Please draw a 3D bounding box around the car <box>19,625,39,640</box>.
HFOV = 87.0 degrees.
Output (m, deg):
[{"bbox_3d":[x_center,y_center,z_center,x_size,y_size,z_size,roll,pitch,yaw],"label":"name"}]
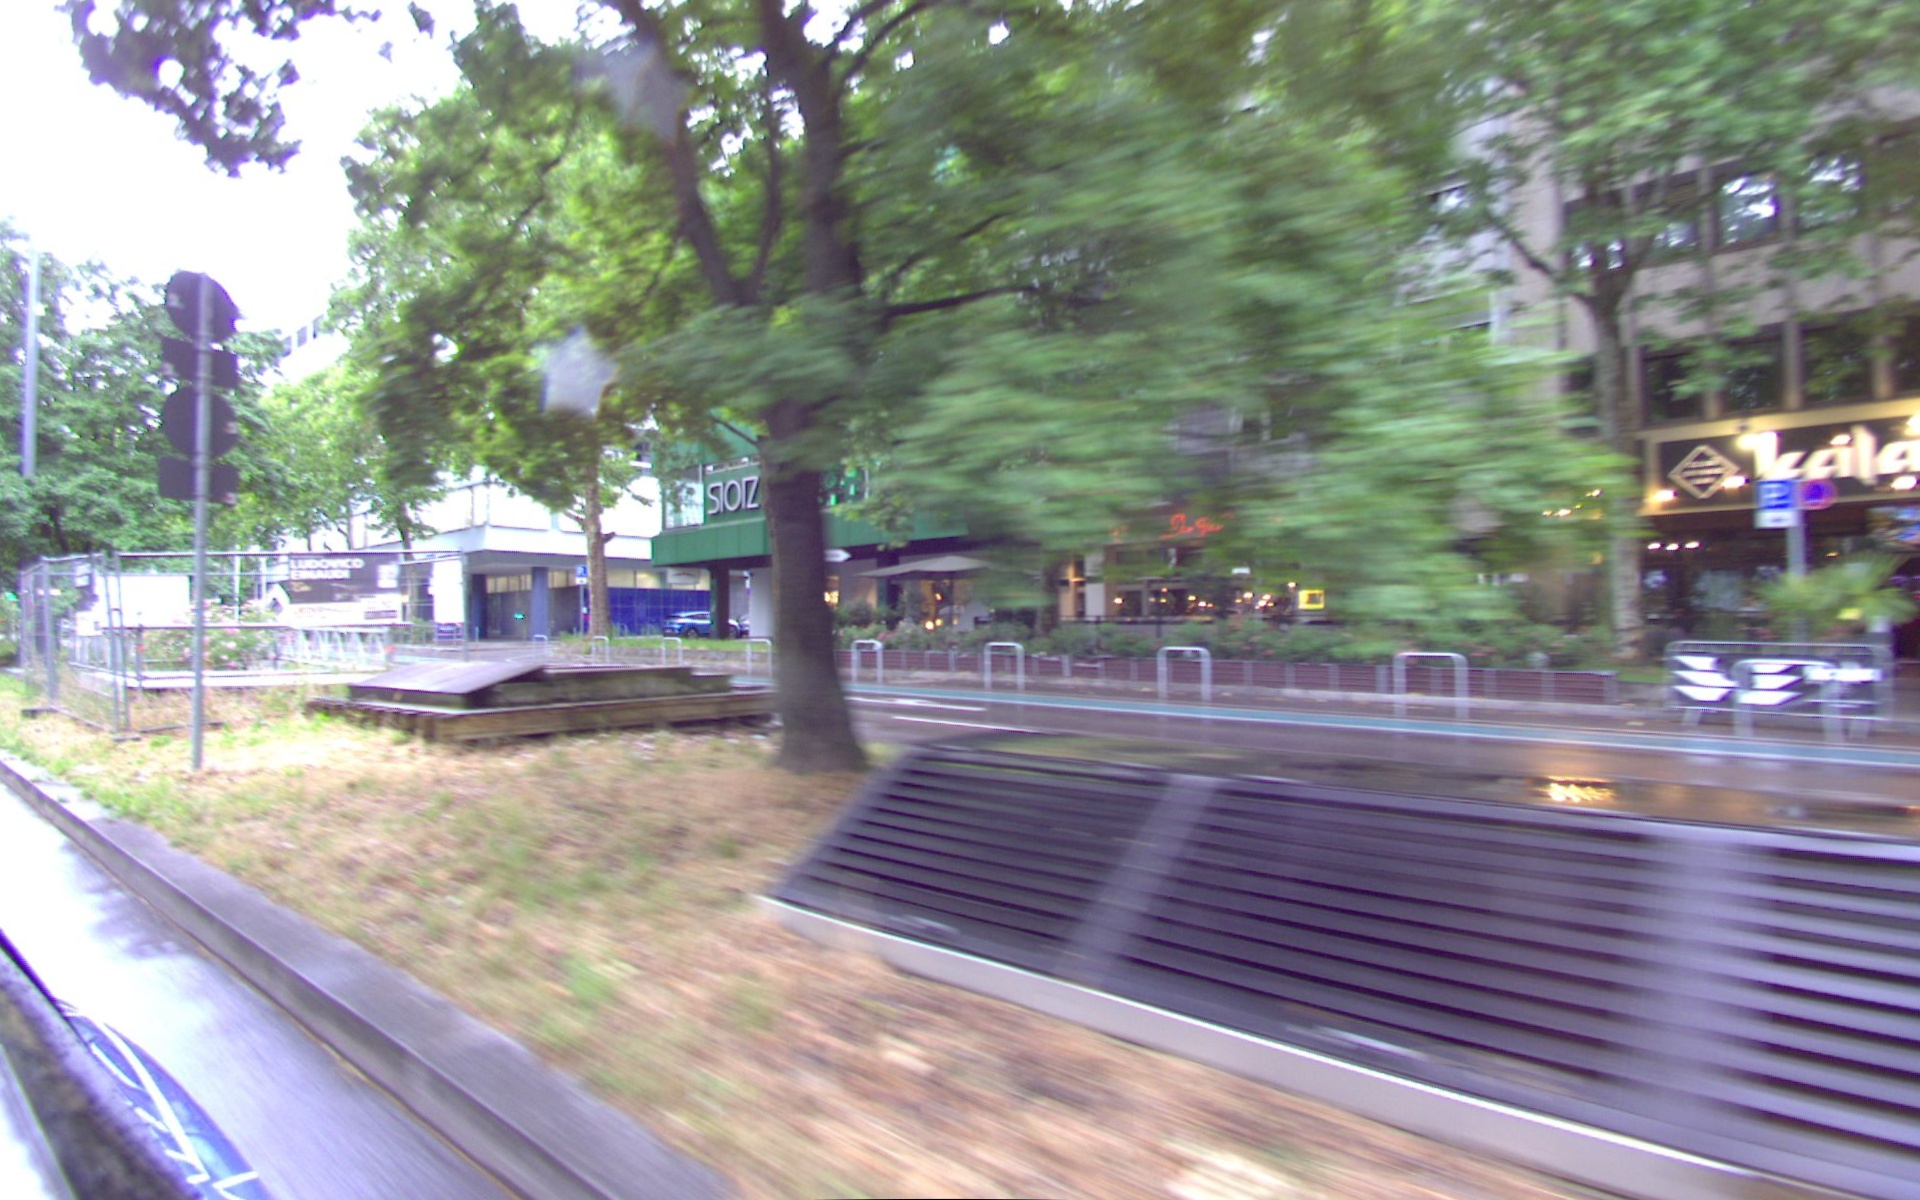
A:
[{"bbox_3d":[-91.600,3.220,99.547,3.561,1.473,1.148,-2,-2,43],"label":"car"}]
